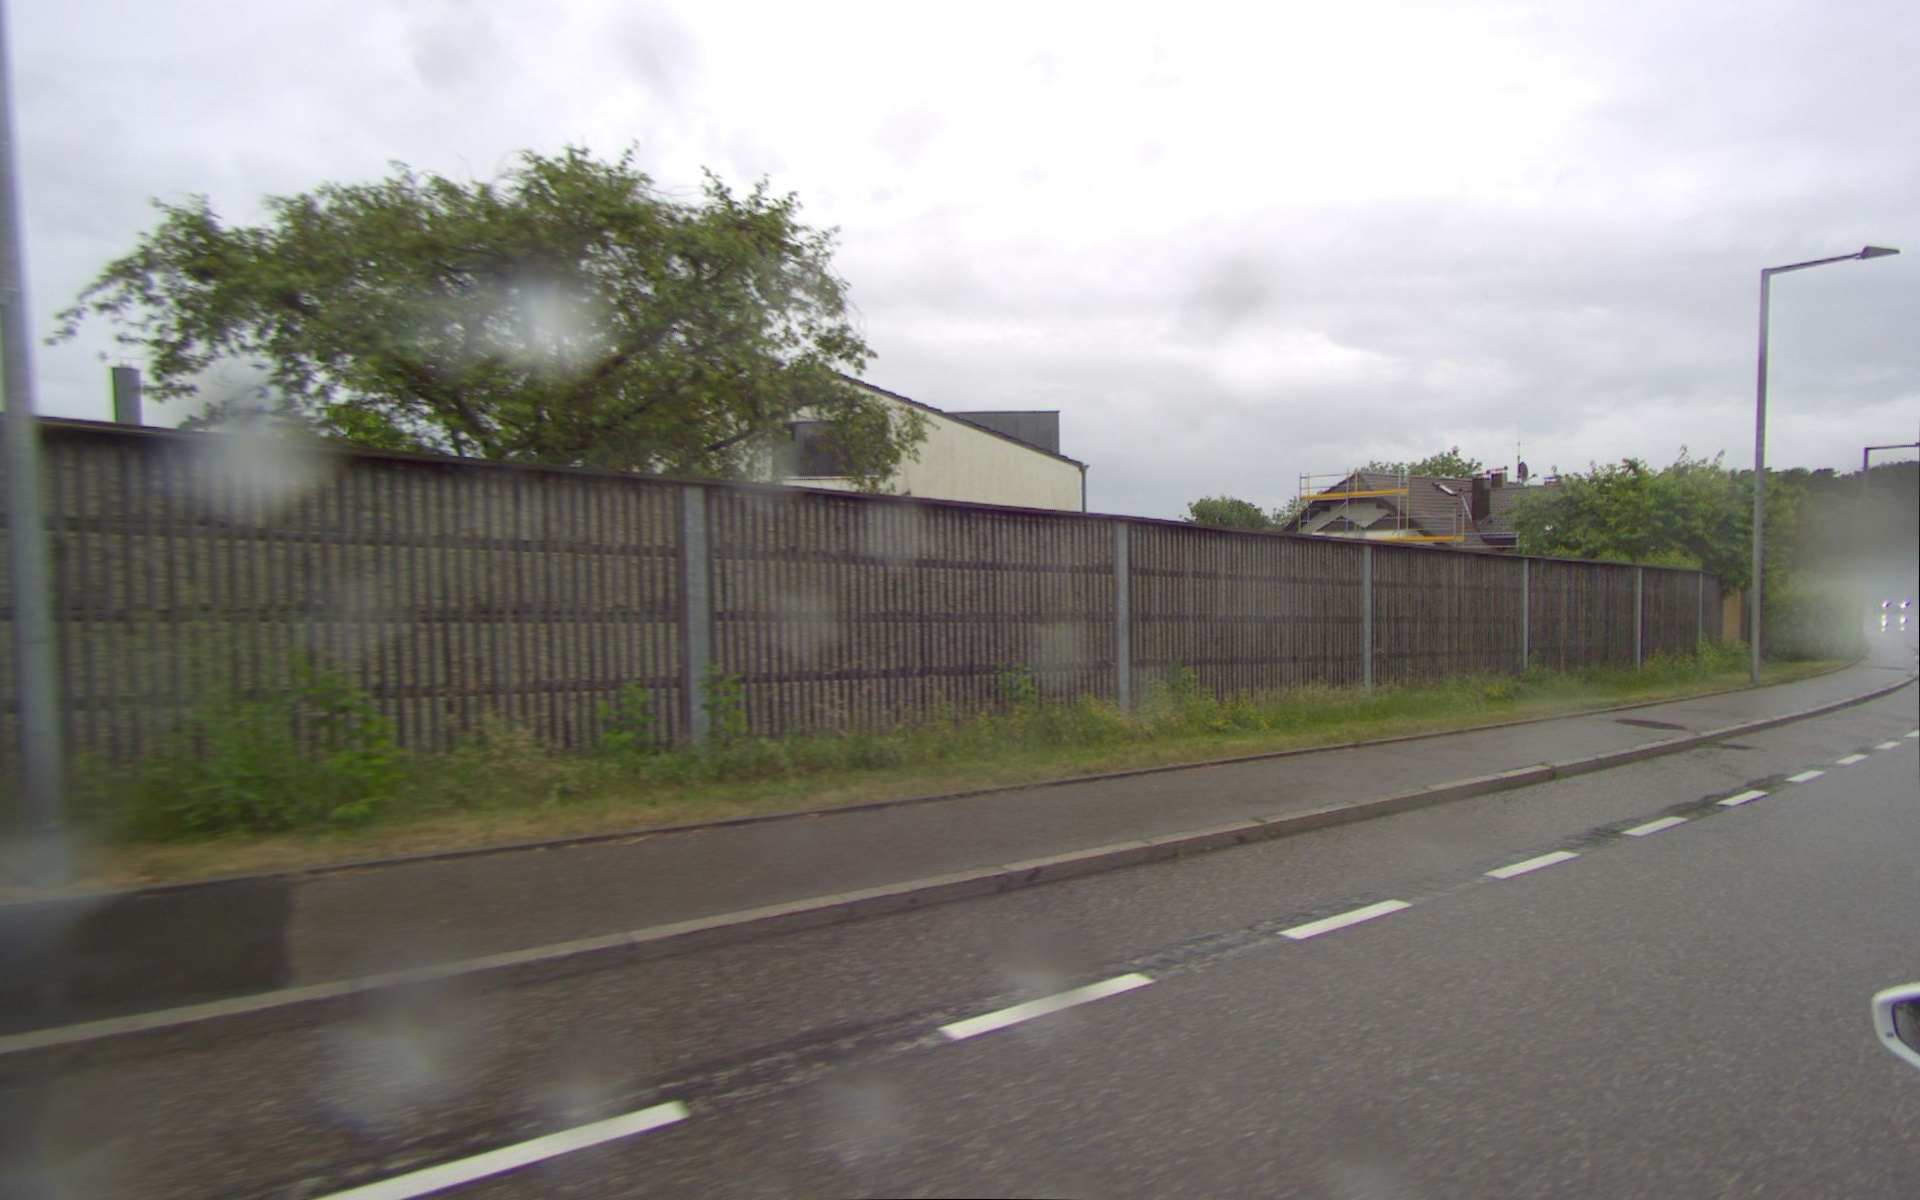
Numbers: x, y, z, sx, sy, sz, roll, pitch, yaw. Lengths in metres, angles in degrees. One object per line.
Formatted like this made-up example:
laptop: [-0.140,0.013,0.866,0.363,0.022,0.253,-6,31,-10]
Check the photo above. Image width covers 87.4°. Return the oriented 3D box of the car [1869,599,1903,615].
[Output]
car: [84.345,0.623,91.511,1.433,1.374,3.526,3,3,29]
